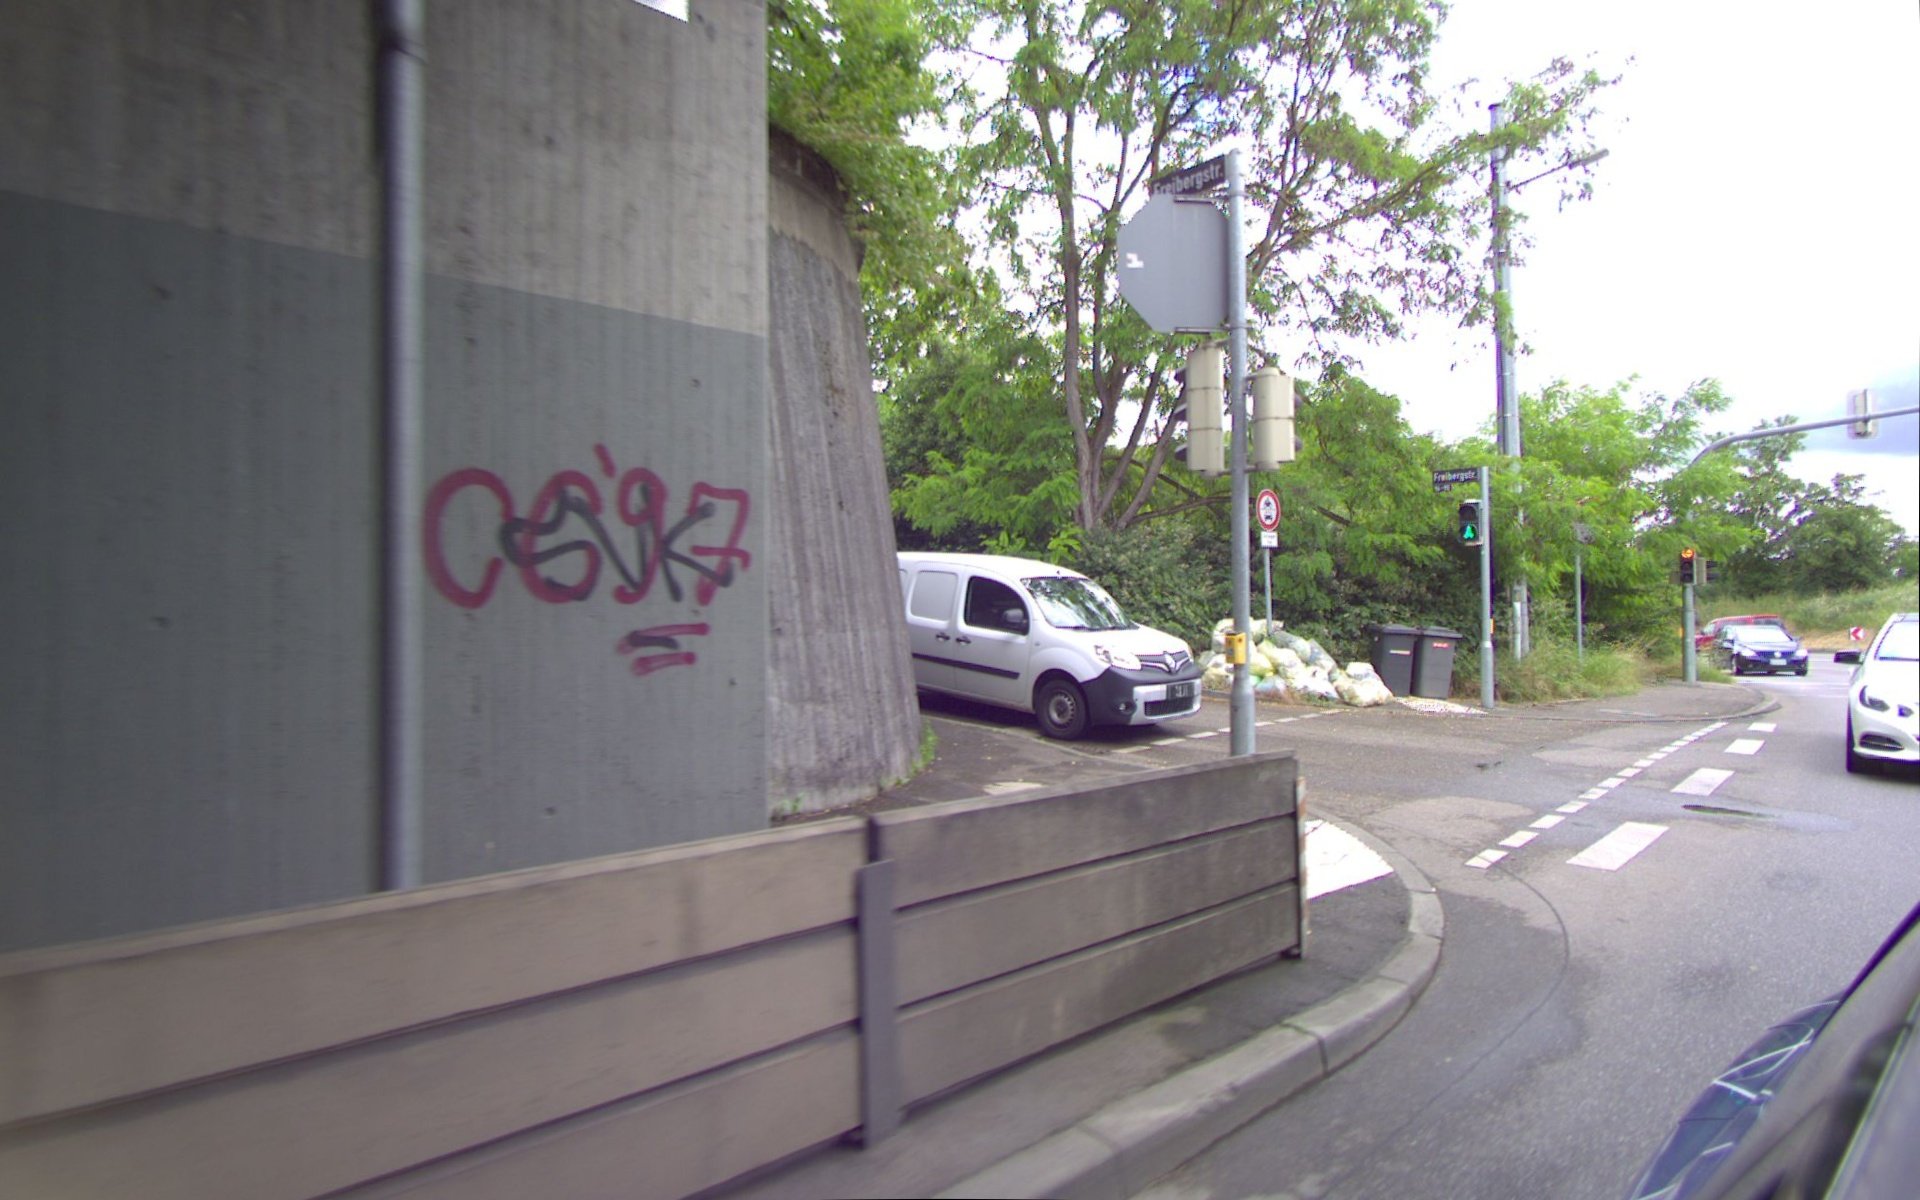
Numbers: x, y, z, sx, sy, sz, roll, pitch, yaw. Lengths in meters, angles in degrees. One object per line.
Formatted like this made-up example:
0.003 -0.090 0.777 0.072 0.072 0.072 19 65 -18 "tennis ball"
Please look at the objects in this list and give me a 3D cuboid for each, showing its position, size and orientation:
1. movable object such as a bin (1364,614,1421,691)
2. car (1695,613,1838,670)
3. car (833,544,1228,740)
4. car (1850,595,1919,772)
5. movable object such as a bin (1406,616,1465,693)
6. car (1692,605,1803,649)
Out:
6.458 0.769 15.121 0.565 1.130 0.644 0 -1 2 "movable object such as a bin"
24.417 1.222 30.816 1.794 1.564 3.714 1 -1 9 "car"
0.625 0.291 11.728 1.797 1.806 4.484 -1 4 -45 "car"
9.597 0.703 9.219 3.933 1.441 1.884 1 -1 -43 "car"
7.093 0.803 15.120 0.565 1.130 0.644 0 -1 2 "movable object such as a bin"
35.759 1.170 46.129 1.663 1.848 4.719 0 0 5 "car"
